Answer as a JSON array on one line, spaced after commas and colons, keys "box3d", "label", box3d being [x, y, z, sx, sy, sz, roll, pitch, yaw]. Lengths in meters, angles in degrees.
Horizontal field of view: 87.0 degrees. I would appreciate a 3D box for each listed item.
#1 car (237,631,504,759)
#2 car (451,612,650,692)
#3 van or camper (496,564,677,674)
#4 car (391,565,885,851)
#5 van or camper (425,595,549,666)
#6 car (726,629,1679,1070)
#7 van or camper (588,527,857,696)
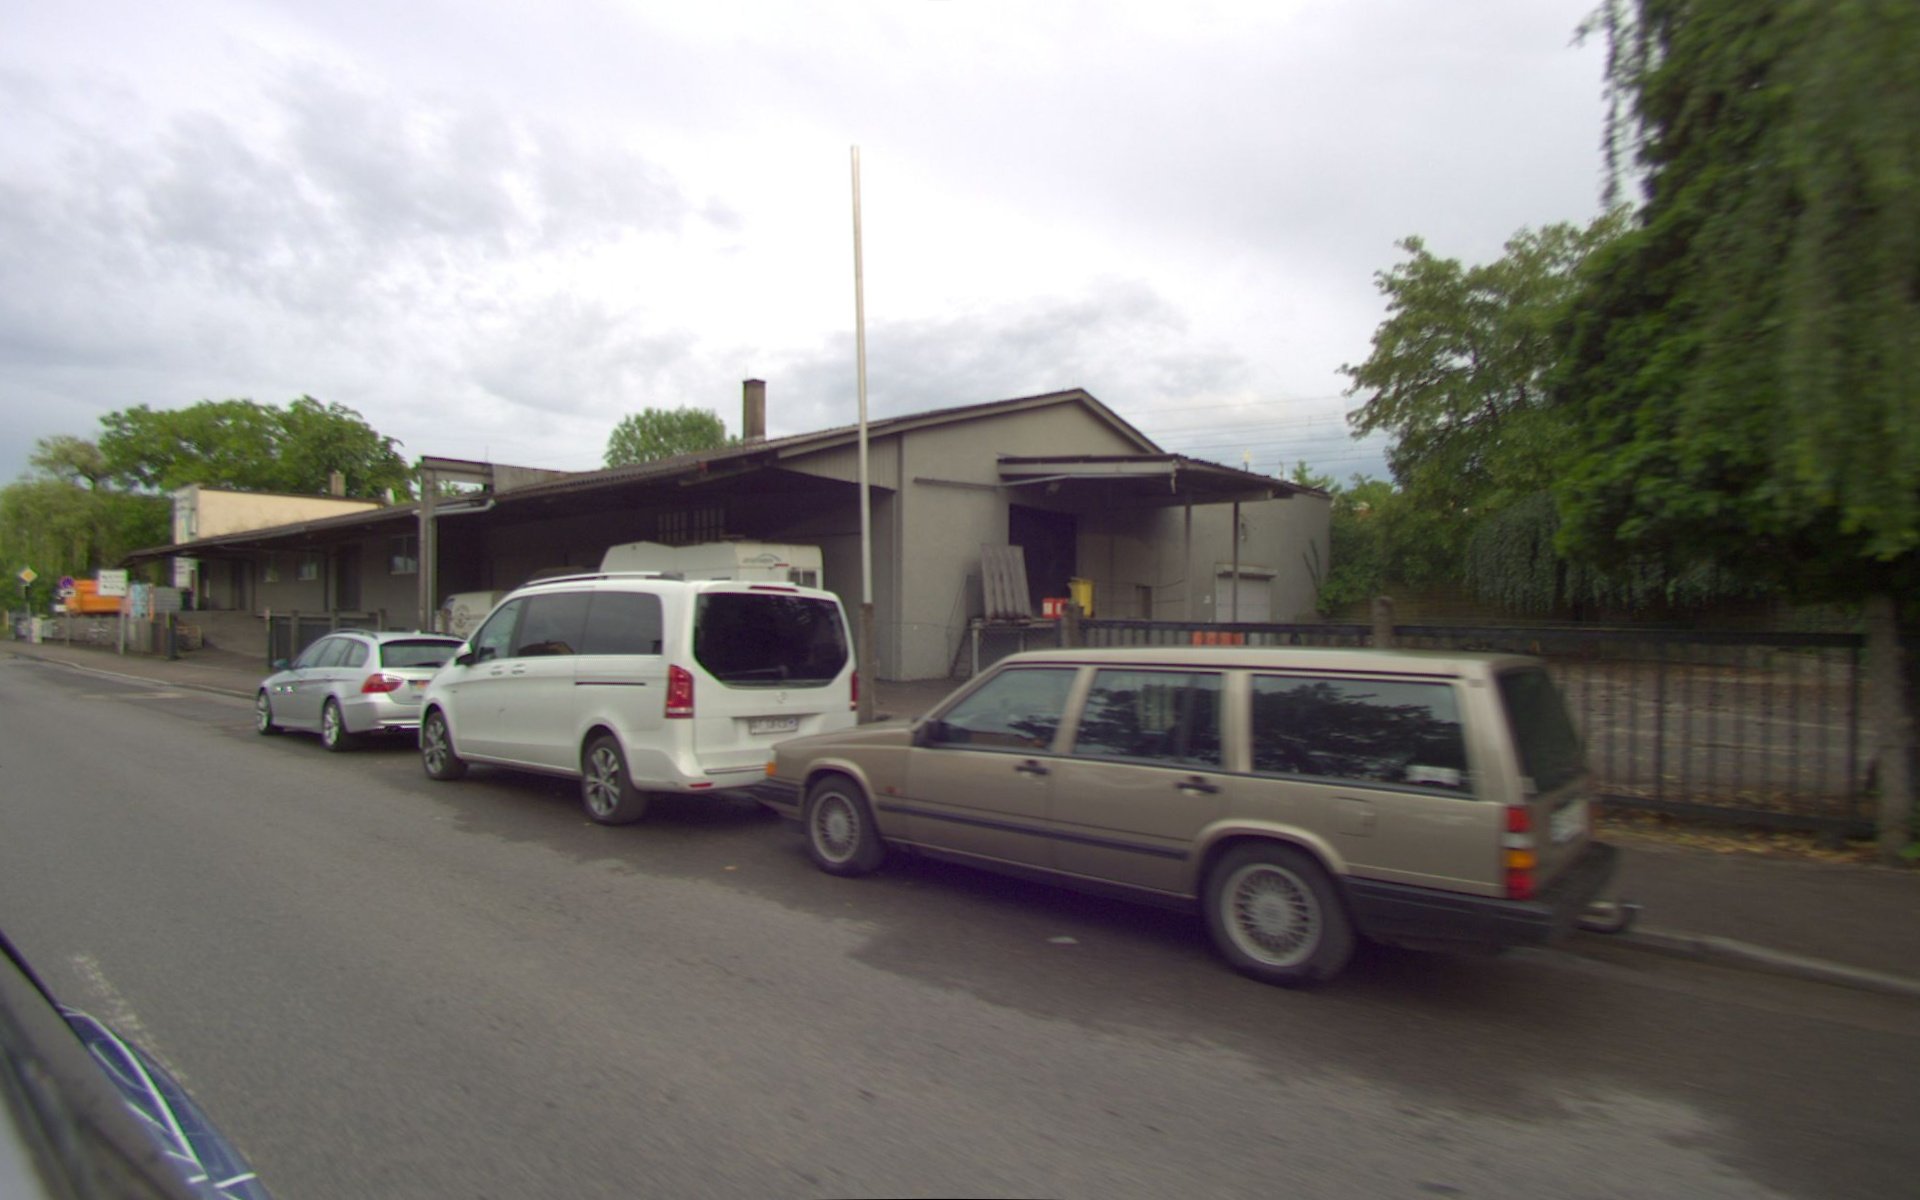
[{"box3d": [-7.872, 1.117, 13.309, 4.705, 1.375, 1.621, -1, -3, 41], "label": "car"}, {"box3d": [-8.539, 1.003, 20.884, 4.785, 1.451, 1.810, -1, 0, 40], "label": "car"}, {"box3d": [-9.502, 0.457, 25.513, 5.194, 2.509, 1.973, -1, 0, 40], "label": "van or camper"}, {"box3d": [-3.168, 0.787, 9.207, 5.208, 1.906, 1.873, -1, -3, 42], "label": "car"}, {"box3d": [-14.279, 0.881, 30.458, 4.373, 1.950, 1.901, -1, 0, 43], "label": "van or camper"}, {"box3d": [0.907, 0.906, 5.716, 4.979, 1.438, 1.797, -1, -3, 42], "label": "car"}, {"box3d": [-5.135, 0.244, 21.225, 6.147, 3.058, 2.280, -1, 0, 40], "label": "van or camper"}]
